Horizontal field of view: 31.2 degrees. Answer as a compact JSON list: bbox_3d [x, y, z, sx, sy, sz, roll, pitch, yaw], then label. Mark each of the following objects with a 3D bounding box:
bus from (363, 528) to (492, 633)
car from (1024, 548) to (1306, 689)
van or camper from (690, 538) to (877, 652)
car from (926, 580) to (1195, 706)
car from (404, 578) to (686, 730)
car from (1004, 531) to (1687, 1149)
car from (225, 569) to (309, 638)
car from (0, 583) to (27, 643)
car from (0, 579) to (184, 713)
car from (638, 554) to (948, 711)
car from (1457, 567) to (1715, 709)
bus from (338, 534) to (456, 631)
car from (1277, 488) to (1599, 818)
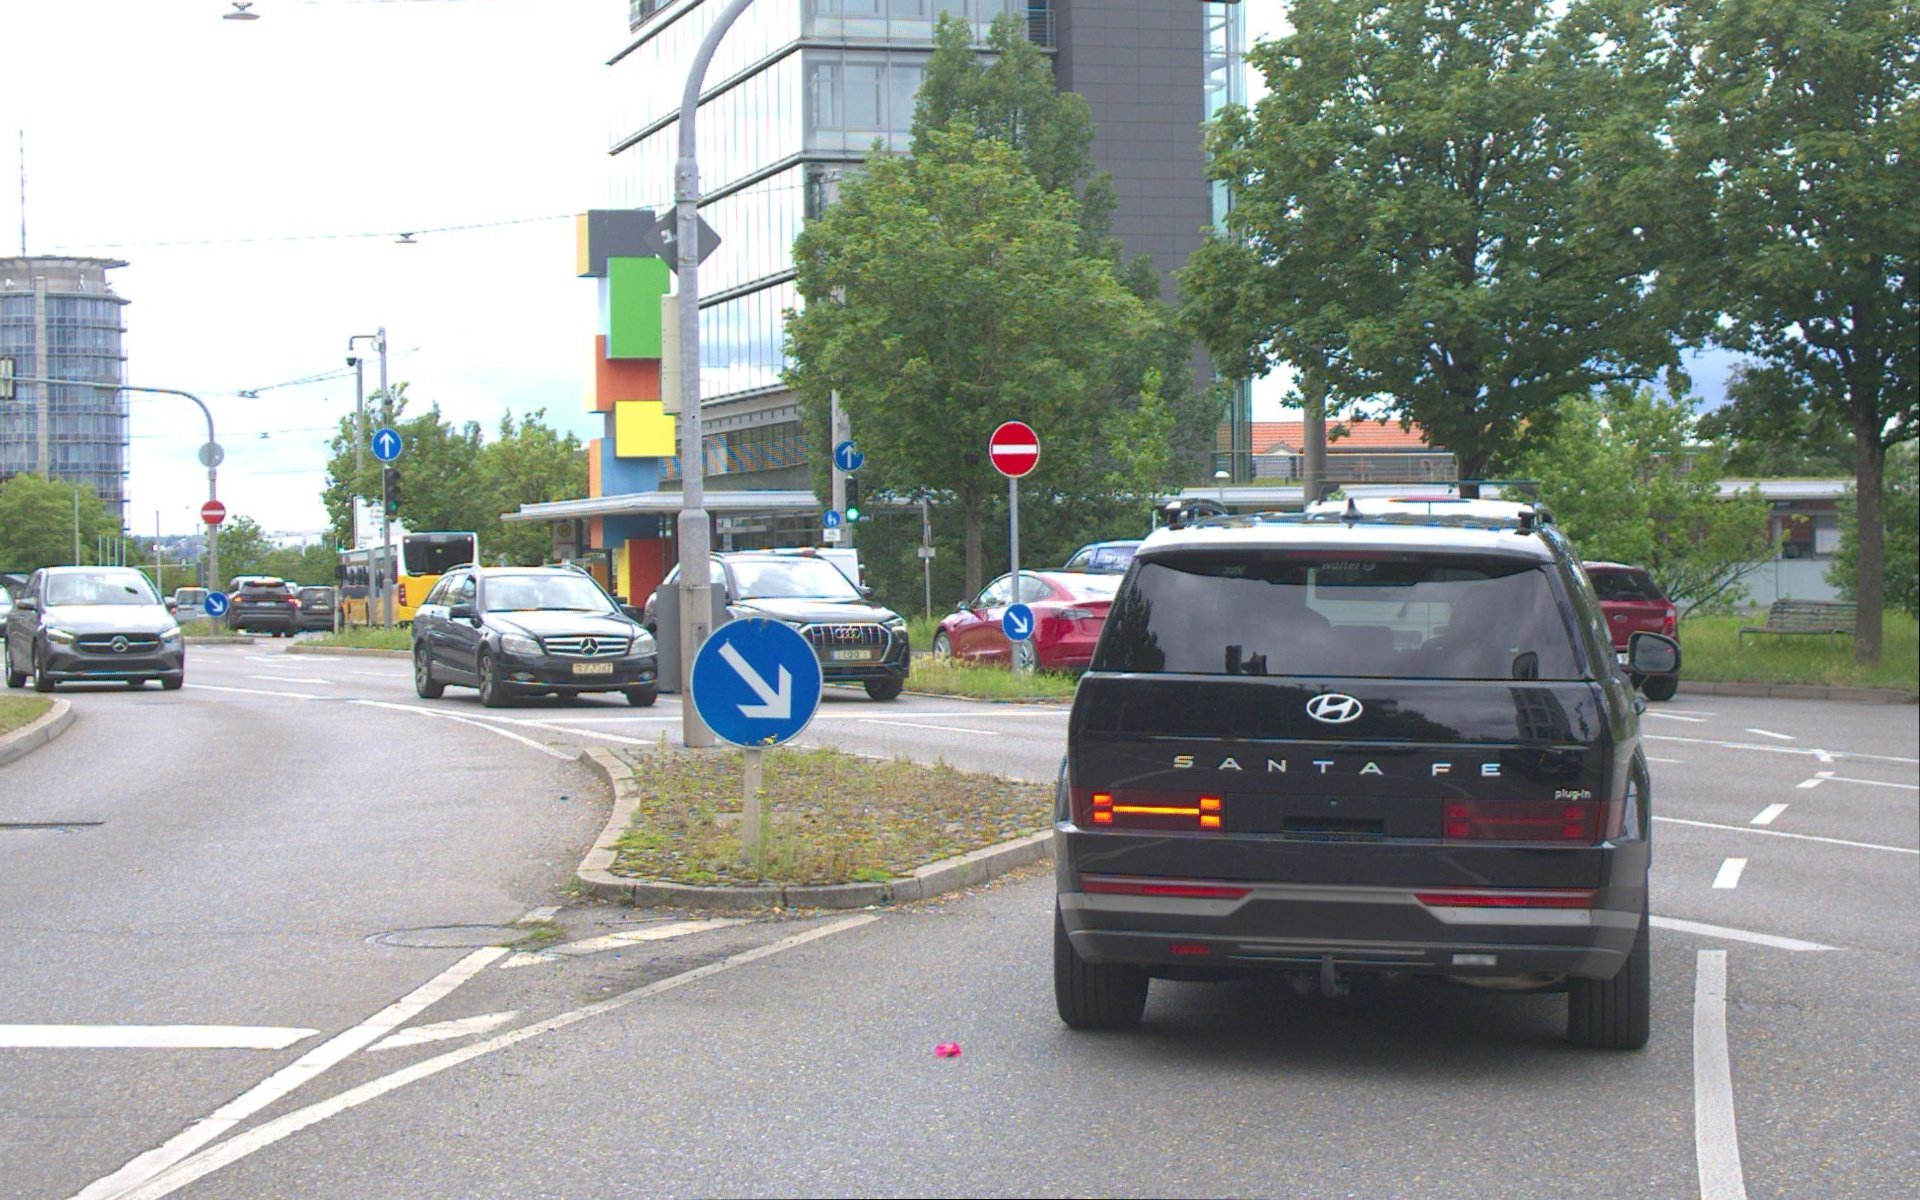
[{"bbox_3d":[-17.039,-0.602,109.495,2.965,3.106,9.246,-2,0,-15],"label":"bus"},{"bbox_3d":[2.769,0.216,47.577,1.901,1.853,4.710,1,1,-24],"label":"car"},{"bbox_3d":[-3.202,-0.124,61.525,1.993,1.911,4.410,0,2,-22],"label":"van or camper"},{"bbox_3d":[1.149,0.486,41.740,1.872,1.413,4.444,1,1,-18],"label":"car"},{"bbox_3d":[-4.414,0.520,36.006,1.782,1.421,4.397,0,1,-23],"label":"car"},{"bbox_3d":[1.551,0.661,12.096,1.903,1.725,4.444,1,1,13],"label":"car"},{"bbox_3d":[-19.442,0.088,96.345,1.901,1.853,4.711,1,1,-16],"label":"car"},{"bbox_3d":[-24.686,0.333,87.061,1.798,1.450,4.613,-1,0,-18],"label":"car"},{"bbox_3d":[-11.038,0.546,43.511,1.782,1.532,4.397,0,1,-20],"label":"car"},{"bbox_3d":[-1.908,0.313,37.800,1.888,1.559,4.397,0,1,-25],"label":"car"},{"bbox_3d":[6.839,0.378,37.926,1.744,1.476,3.719,0,1,-7],"label":"car"},{"bbox_3d":[-19.508,-0.584,118.686,2.951,3.101,9.978,-2,0,-15],"label":"bus"},{"bbox_3d":[3.199,0.298,23.069,1.902,1.962,4.634,1,1,8],"label":"car"}]
